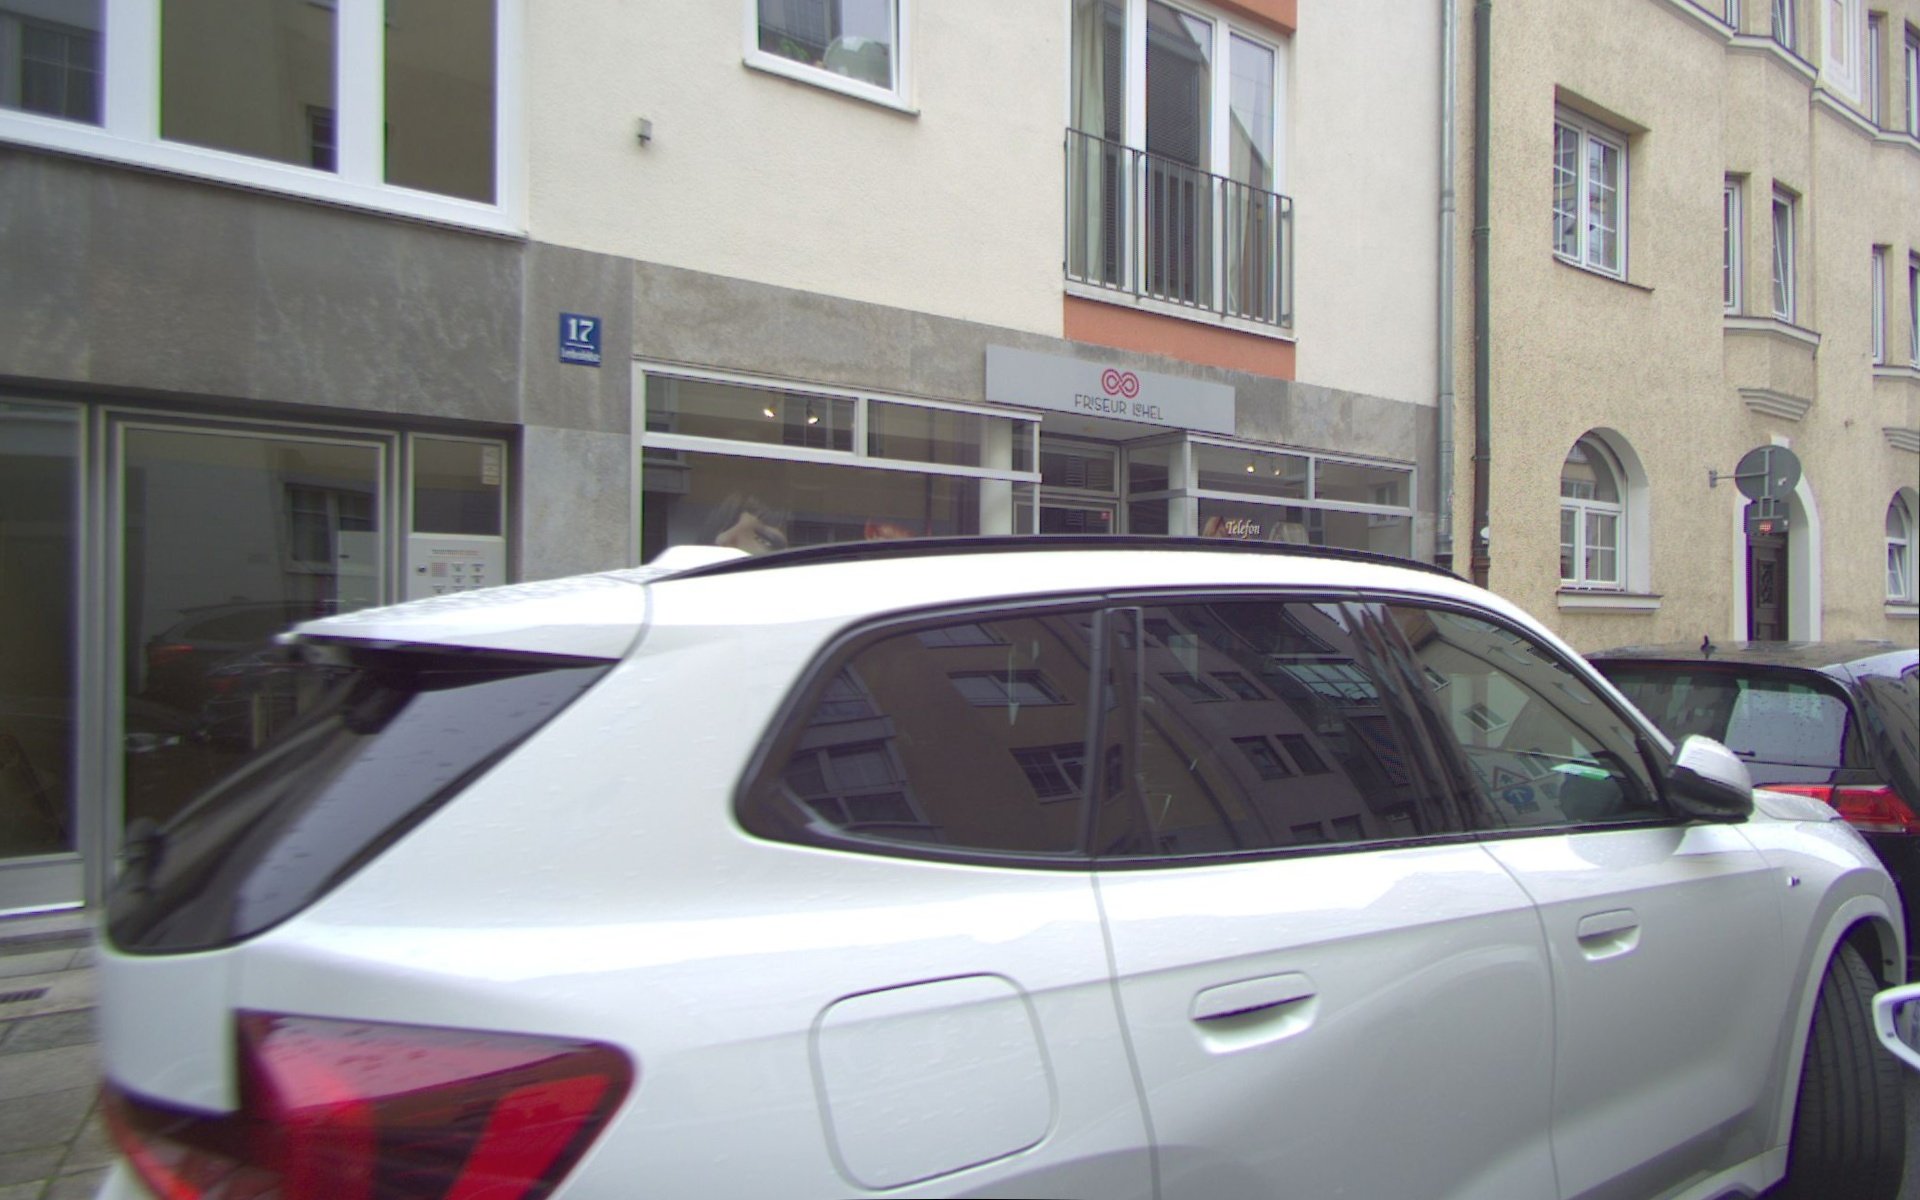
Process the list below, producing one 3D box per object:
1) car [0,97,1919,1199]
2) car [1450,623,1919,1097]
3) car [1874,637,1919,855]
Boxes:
[{"bbox_3d":[0.687,0.612,2.421,4.264,1.626,1.770,1,-3,-34],"label":"car"},{"bbox_3d":[4.269,0.887,4.831,3.797,1.494,1.620,1,-3,-31],"label":"car"},{"bbox_3d":[8.651,1.002,7.392,4.063,1.494,1.664,1,-3,-30],"label":"car"}]
